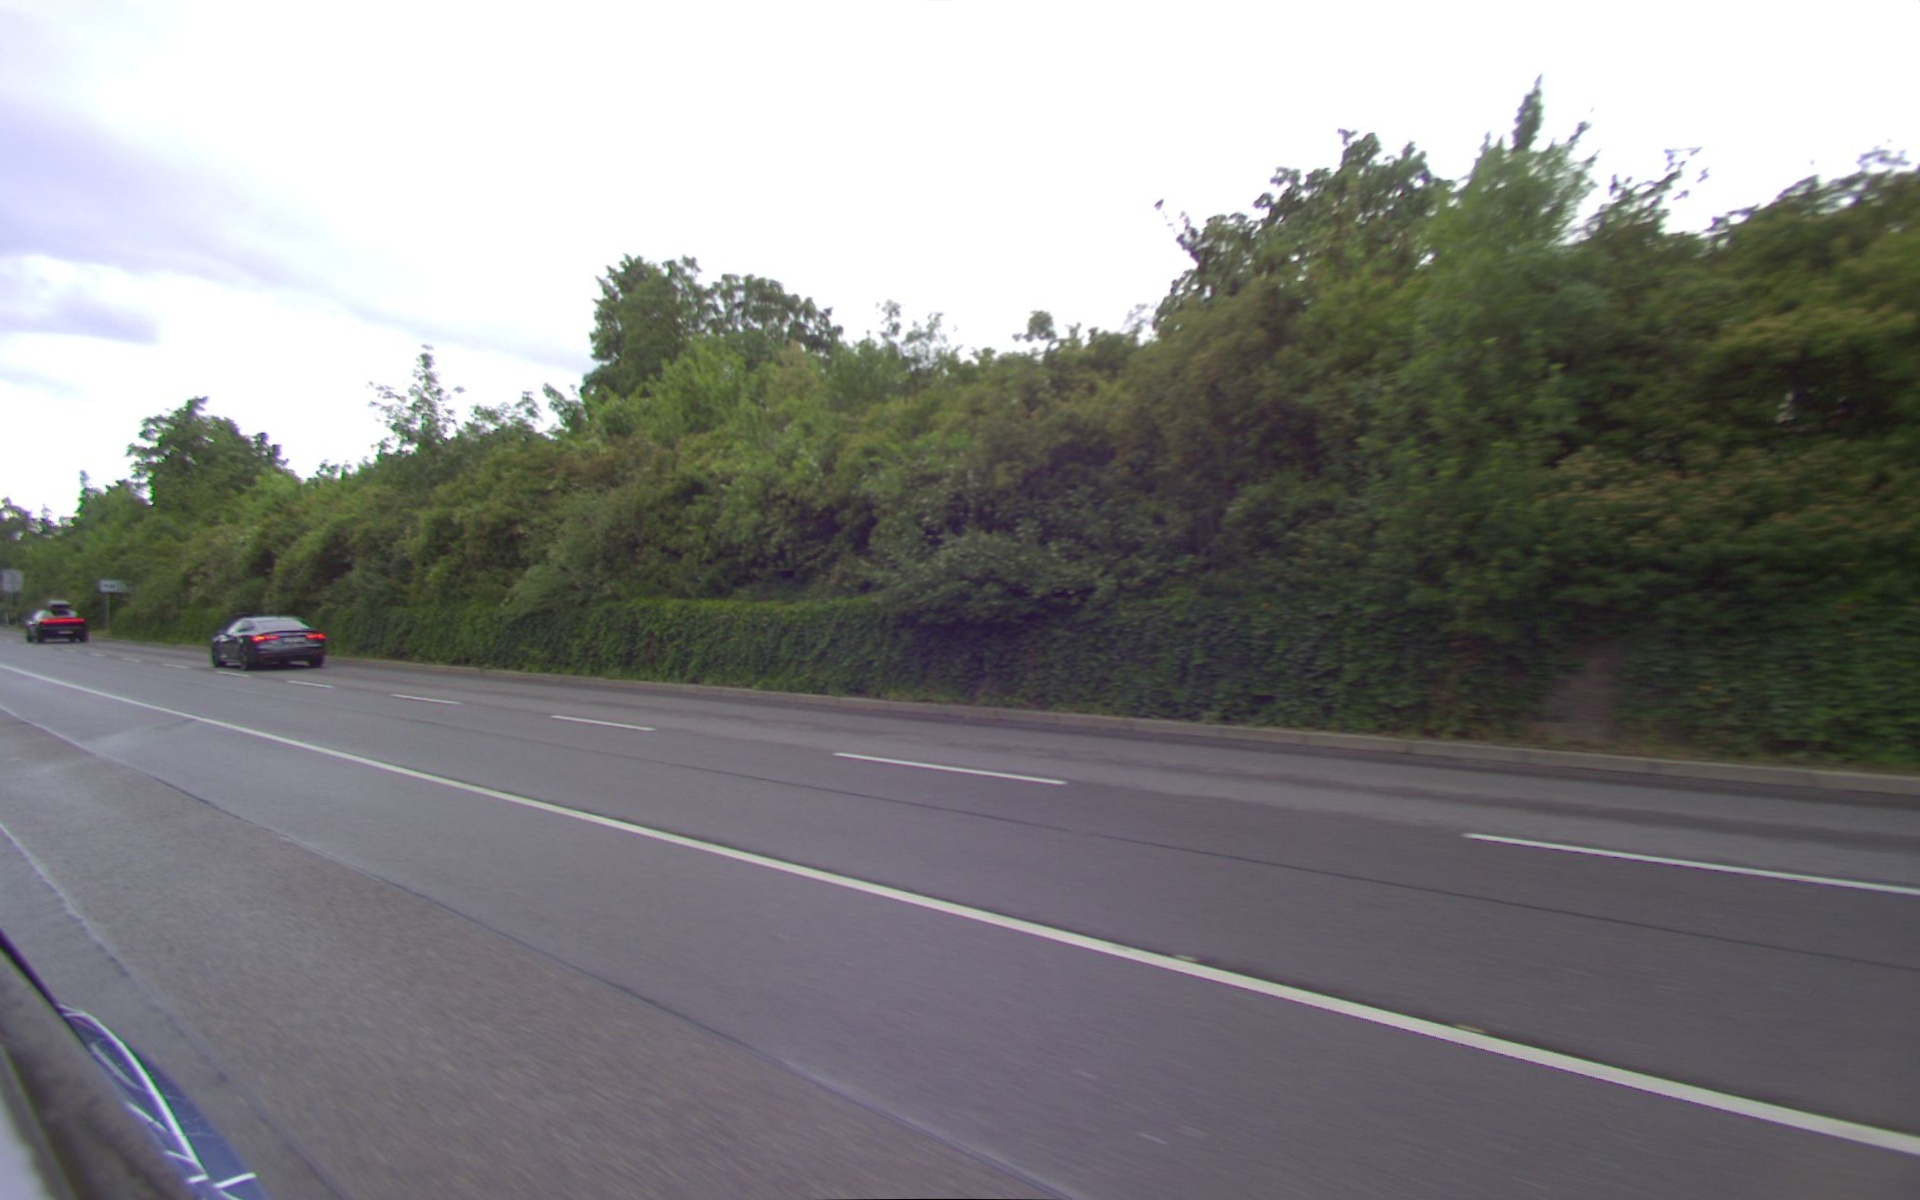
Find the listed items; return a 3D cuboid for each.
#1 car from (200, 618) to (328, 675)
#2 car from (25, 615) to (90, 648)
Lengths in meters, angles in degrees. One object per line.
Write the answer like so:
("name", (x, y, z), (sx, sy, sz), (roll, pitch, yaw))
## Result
("car", (-19.117, 1.253, 27.699), (4.835, 1.391, 1.741), (-2, -1, 41))
("car", (-45.353, 1.555, 50.840), (4.628, 1.564, 1.879), (-1, 0, 41))
